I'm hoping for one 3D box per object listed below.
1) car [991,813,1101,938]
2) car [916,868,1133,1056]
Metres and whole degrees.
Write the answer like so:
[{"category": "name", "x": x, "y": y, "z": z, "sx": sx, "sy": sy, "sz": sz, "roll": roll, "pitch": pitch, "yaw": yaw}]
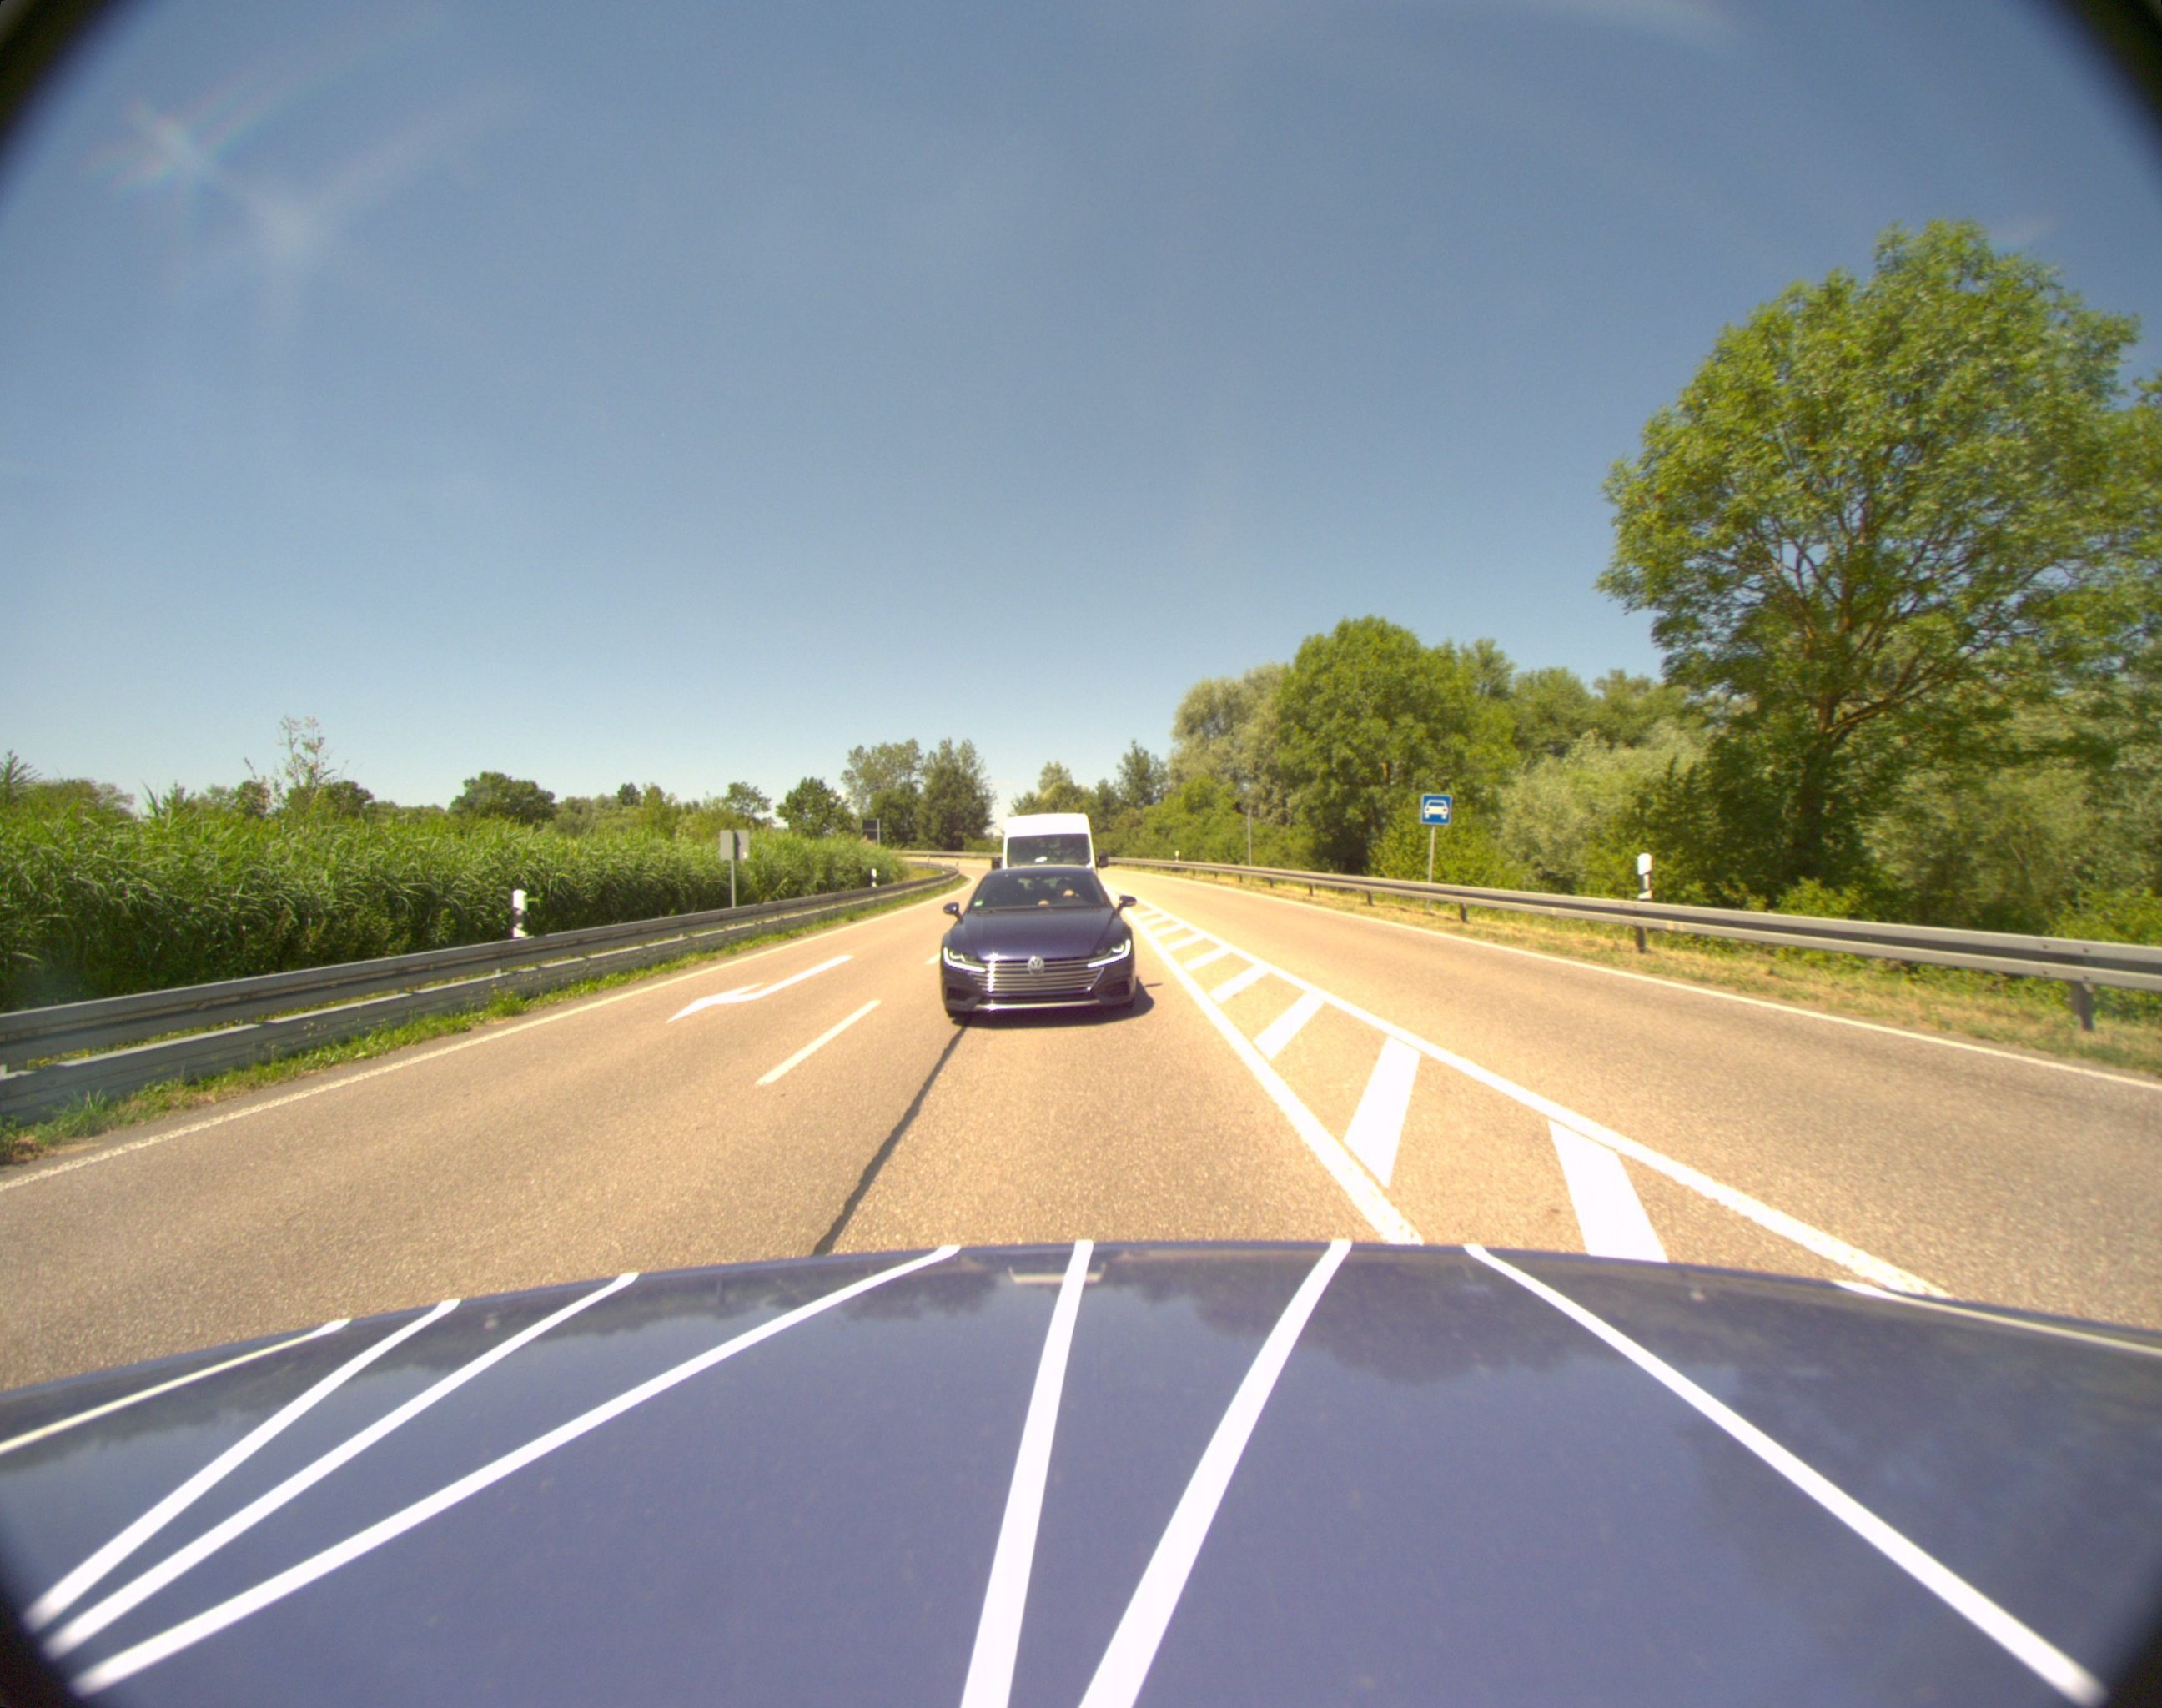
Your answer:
[{"category": "car", "x": -0.671, "y": 0.391, "z": 17.827, "sx": 2.059, "sy": 2.376, "sz": 5.826, "roll": -2, "pitch": 1, "yaw": 0}, {"category": "car", "x": -0.457, "y": 0.937, "z": 8.331, "sx": 1.761, "sy": 1.401, "sz": 3.999, "roll": -2, "pitch": 1, "yaw": 0}]
